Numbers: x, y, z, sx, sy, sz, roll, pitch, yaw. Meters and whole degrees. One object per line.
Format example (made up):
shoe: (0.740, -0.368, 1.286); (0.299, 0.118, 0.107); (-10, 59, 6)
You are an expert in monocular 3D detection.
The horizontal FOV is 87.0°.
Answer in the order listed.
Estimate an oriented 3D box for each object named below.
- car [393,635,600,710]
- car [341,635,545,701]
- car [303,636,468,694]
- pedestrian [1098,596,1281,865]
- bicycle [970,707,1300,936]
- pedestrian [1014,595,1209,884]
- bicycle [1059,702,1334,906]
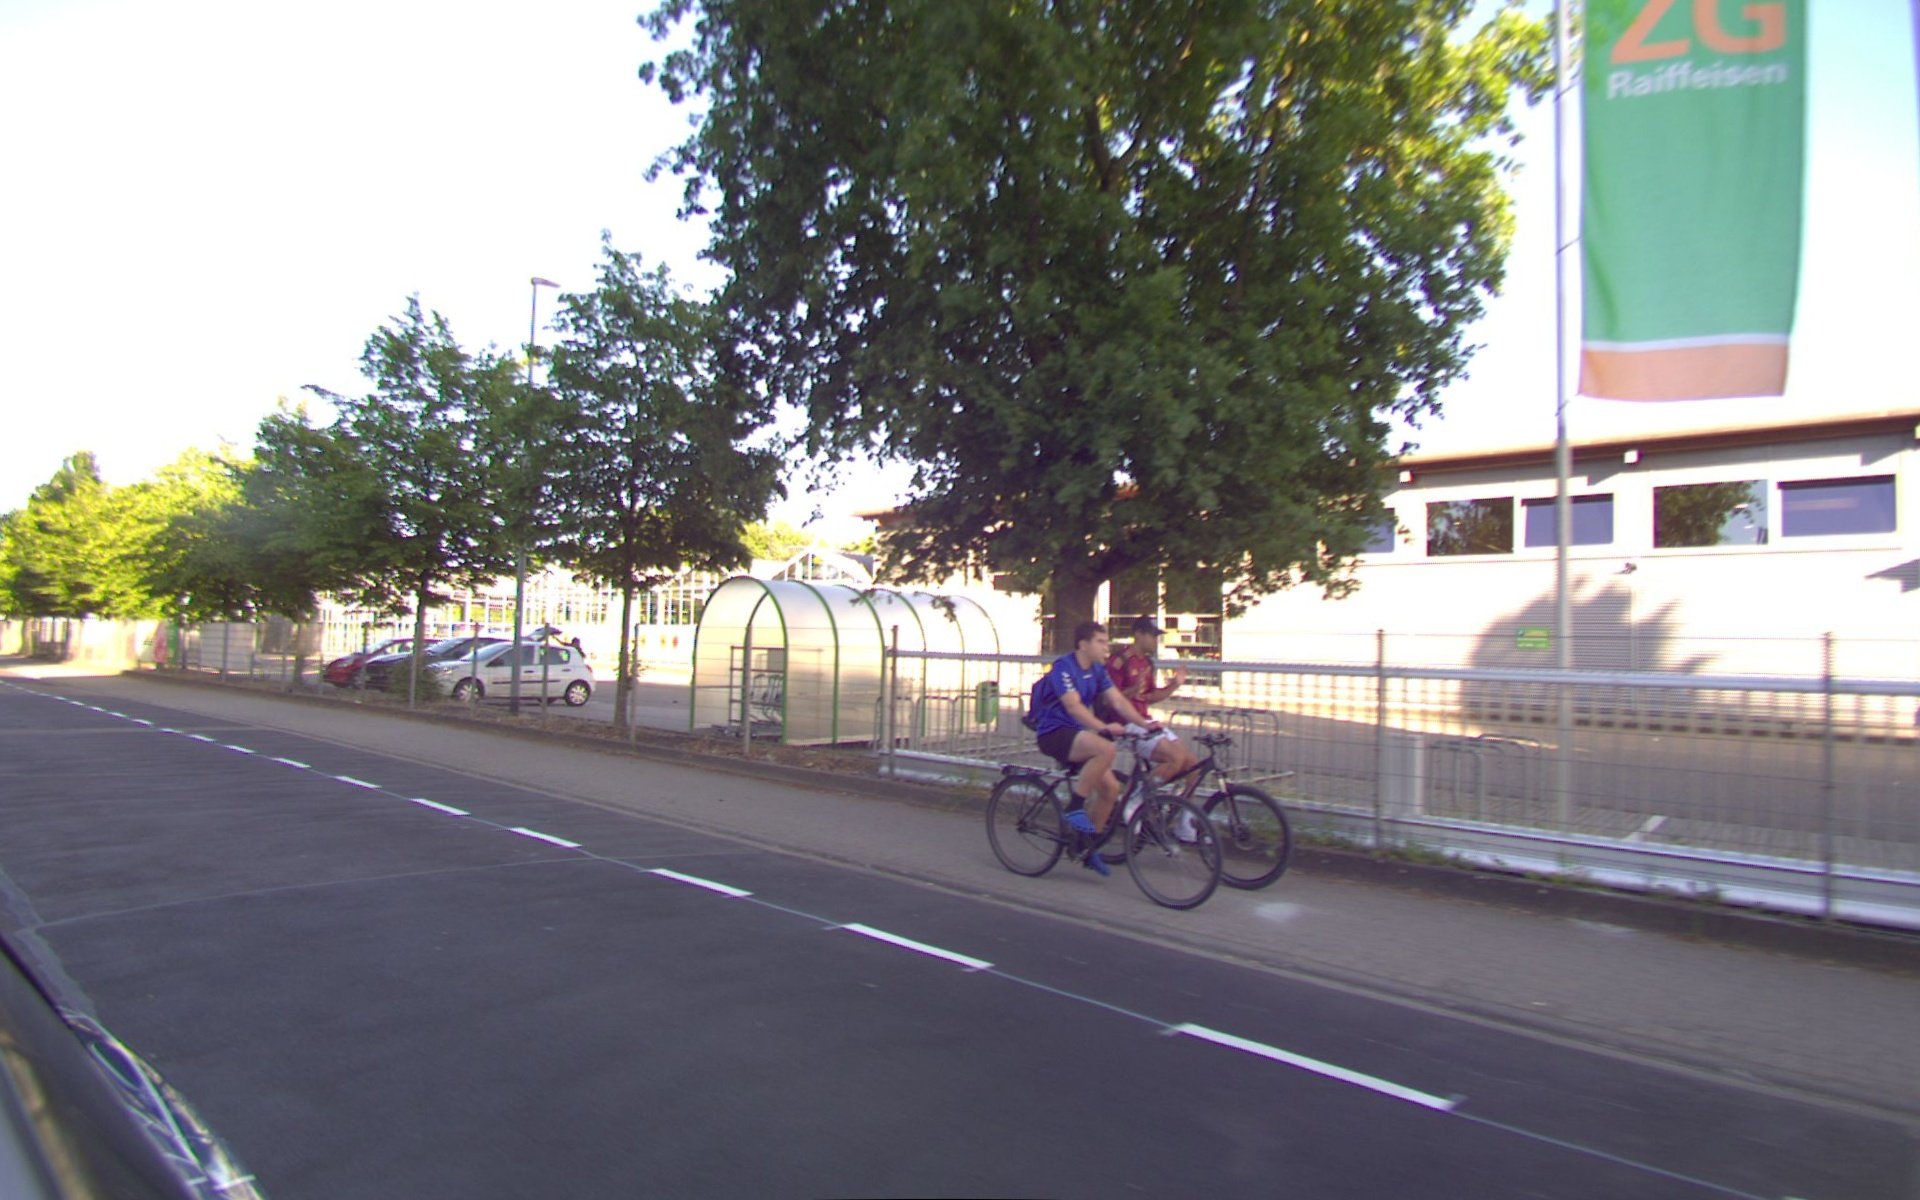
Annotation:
car: (-10.527, 1.693, 23.187); (1.784, 1.523, 3.849); (-2, -7, 40)
car: (-13.254, 1.782, 26.127); (2.050, 1.462, 4.144); (-2, -7, 39)
car: (-16.589, 1.913, 29.344); (1.803, 1.462, 3.689); (-2, -7, 39)
pedestrian: (1.624, 0.871, 7.184); (1.056, 1.734, 0.713); (-2, -4, 41)
bicycle: (1.049, 1.339, 6.595); (2.199, 1.157, 0.441); (-2, -3, 41)
pedestrian: (1.004, 0.866, 6.729); (1.056, 1.734, 0.713); (-2, -4, 41)
bicycle: (1.598, 1.349, 7.098); (1.868, 1.157, 0.465); (-2, -3, 41)
